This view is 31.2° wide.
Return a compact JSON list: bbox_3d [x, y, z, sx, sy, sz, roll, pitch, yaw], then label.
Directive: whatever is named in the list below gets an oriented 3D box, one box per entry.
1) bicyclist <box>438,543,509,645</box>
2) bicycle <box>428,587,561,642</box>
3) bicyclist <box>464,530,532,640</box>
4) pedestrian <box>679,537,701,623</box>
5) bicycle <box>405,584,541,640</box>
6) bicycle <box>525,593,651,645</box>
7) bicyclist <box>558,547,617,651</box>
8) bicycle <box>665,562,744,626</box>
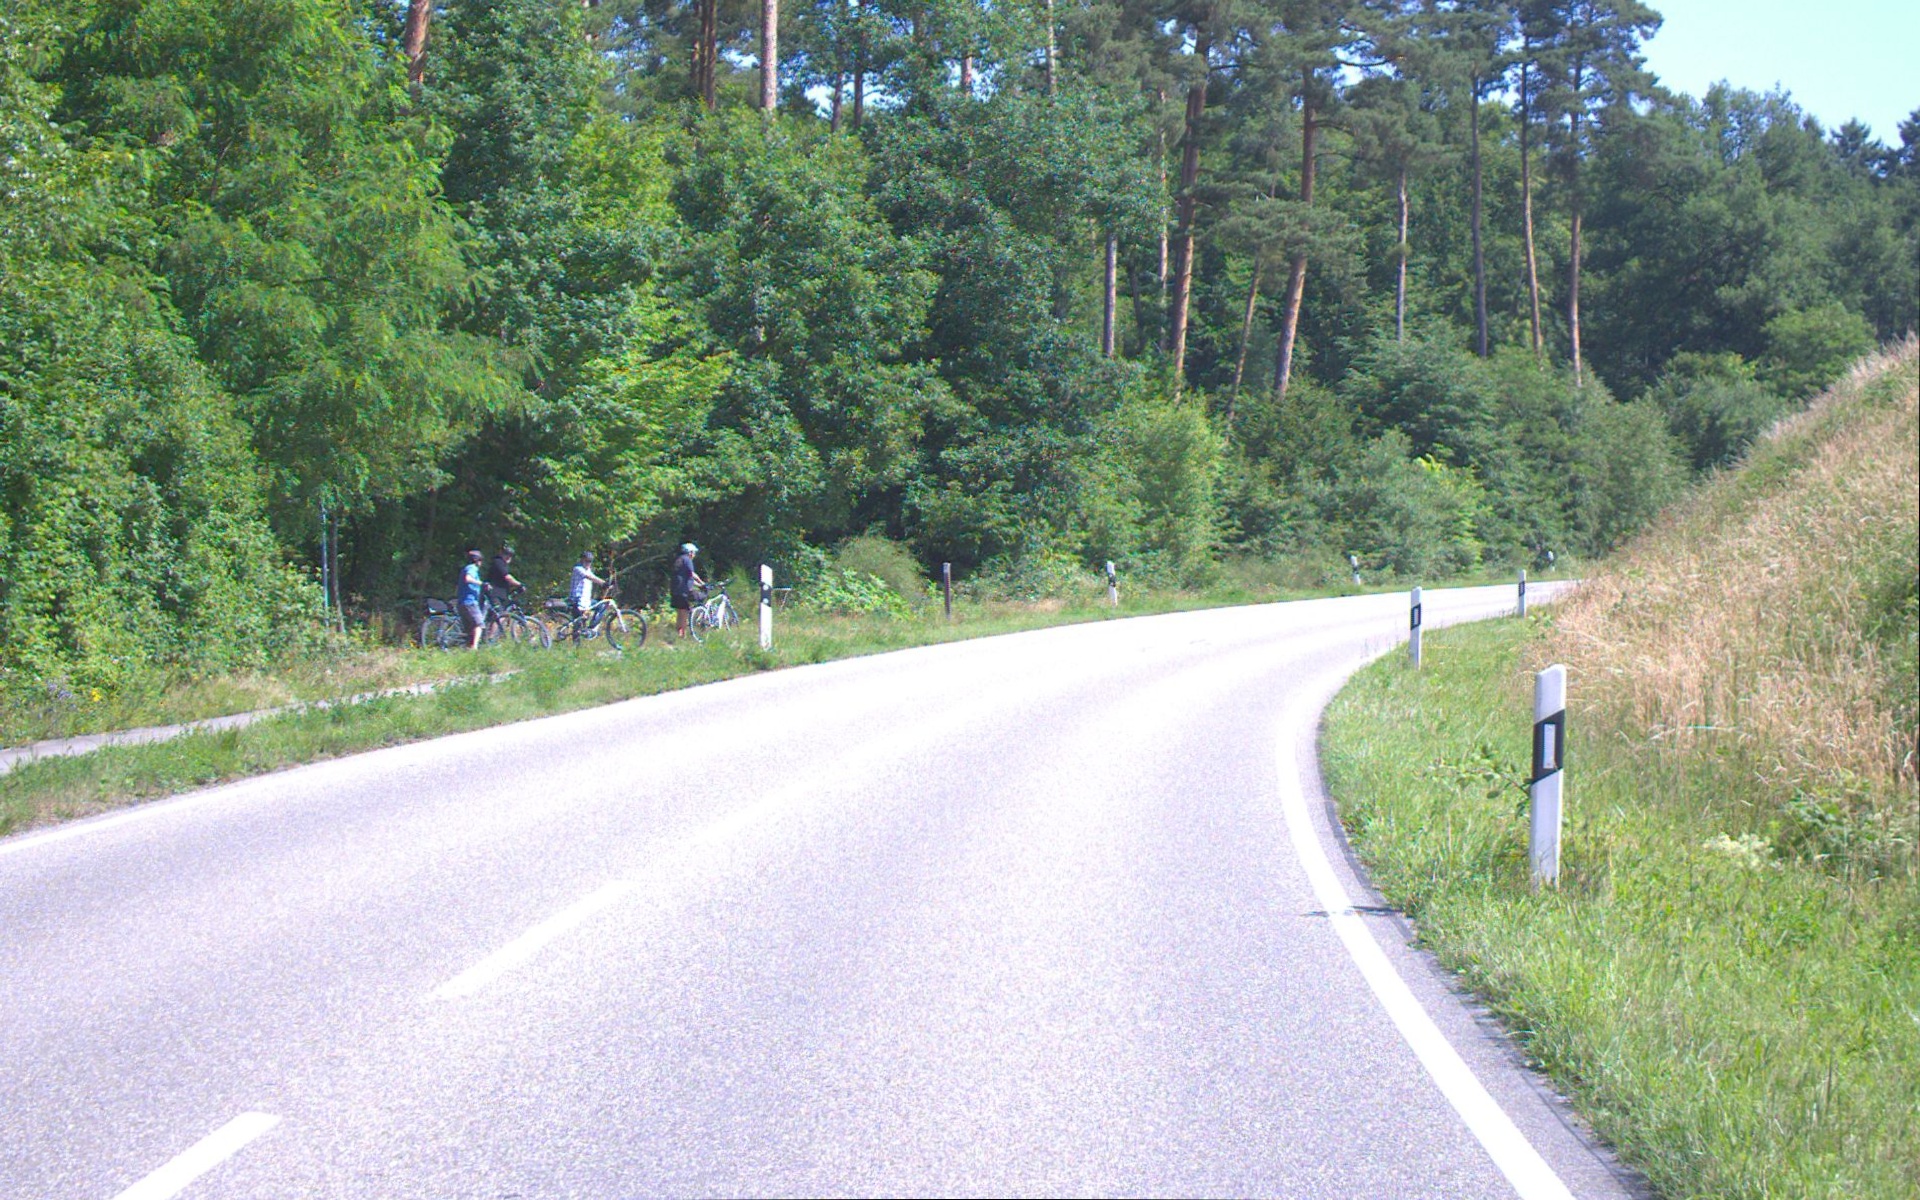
[{"bbox_3d":[-7.414,-0.092,52.434,0.869,1.540,0.606,1,0,-34],"label":"bicyclist"},{"bbox_3d":[-7.257,0.233,53.650,1.979,0.827,0.606,1,0,-34],"label":"bicycle"},{"bbox_3d":[-7.210,-0.233,53.660,0.848,1.695,0.606,1,0,-34],"label":"bicyclist"},{"bbox_3d":[-4.859,-0.367,61.893,0.284,1.533,0.390,-1,1,7],"label":"pedestrian"},{"bbox_3d":[-7.418,0.181,52.427,1.979,0.827,0.606,1,0,-34],"label":"bicycle"},{"bbox_3d":[-6.197,0.317,57.317,1.978,0.827,0.606,1,0,-27],"label":"bicycle"},{"bbox_3d":[-6.210,-0.023,57.298,0.787,1.713,0.606,1,0,-27],"label":"bicyclist"},{"bbox_3d":[-4.597,-0.116,61.913,0.582,1.082,1.444,3,4,41],"label":"bicycle"}]
